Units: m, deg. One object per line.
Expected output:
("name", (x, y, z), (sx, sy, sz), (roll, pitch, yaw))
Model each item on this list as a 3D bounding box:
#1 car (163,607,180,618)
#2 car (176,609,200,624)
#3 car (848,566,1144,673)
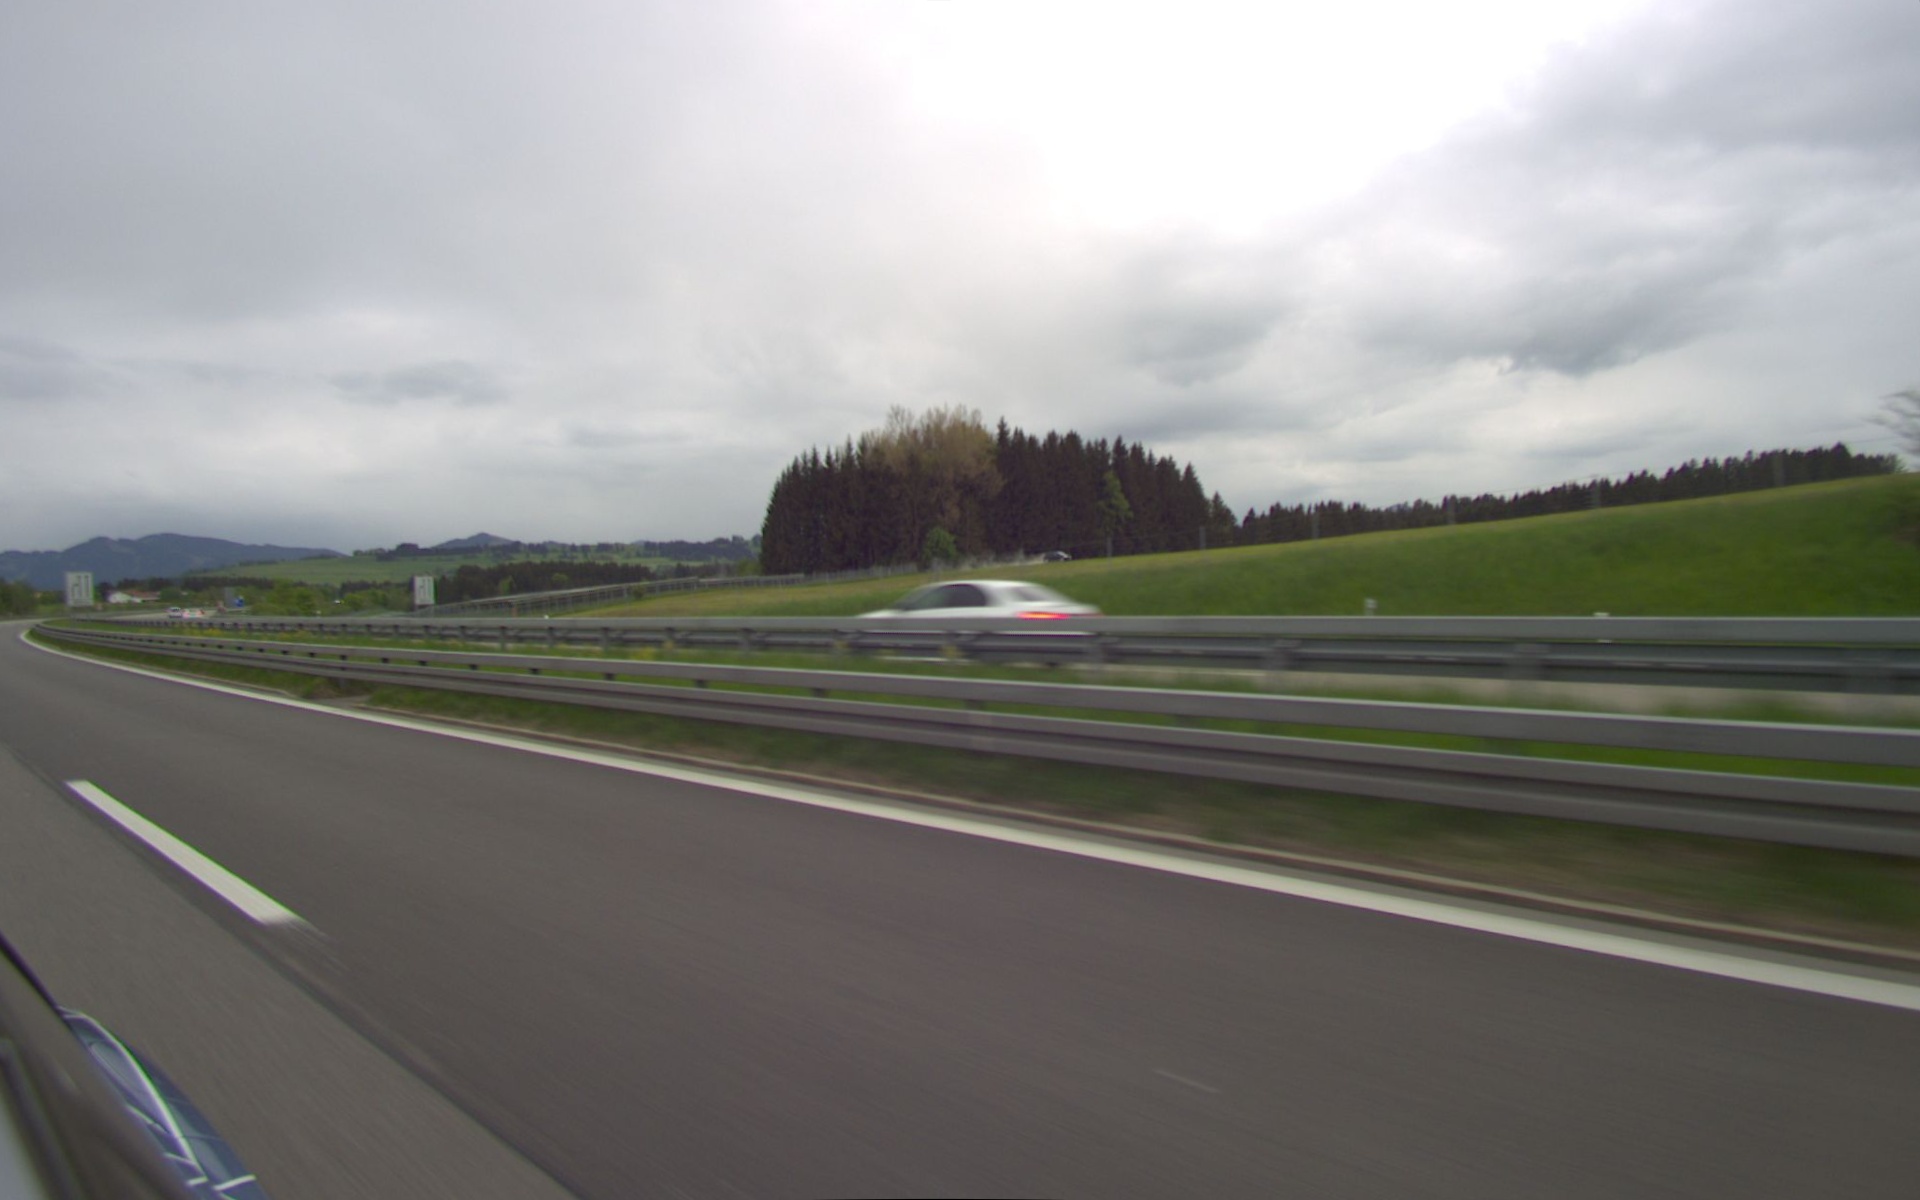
("car", (-130.446, 2.113, 167.398), (1.969, 1.699, 4.635), (-4, 2, -39))
("car", (-95.934, 2.041, 125.723), (2.010, 1.703, 5.062), (-4, 2, -41))
("car", (0.475, 0.301, 16.243), (4.460, 1.439, 1.973), (-2, 2, 41))
